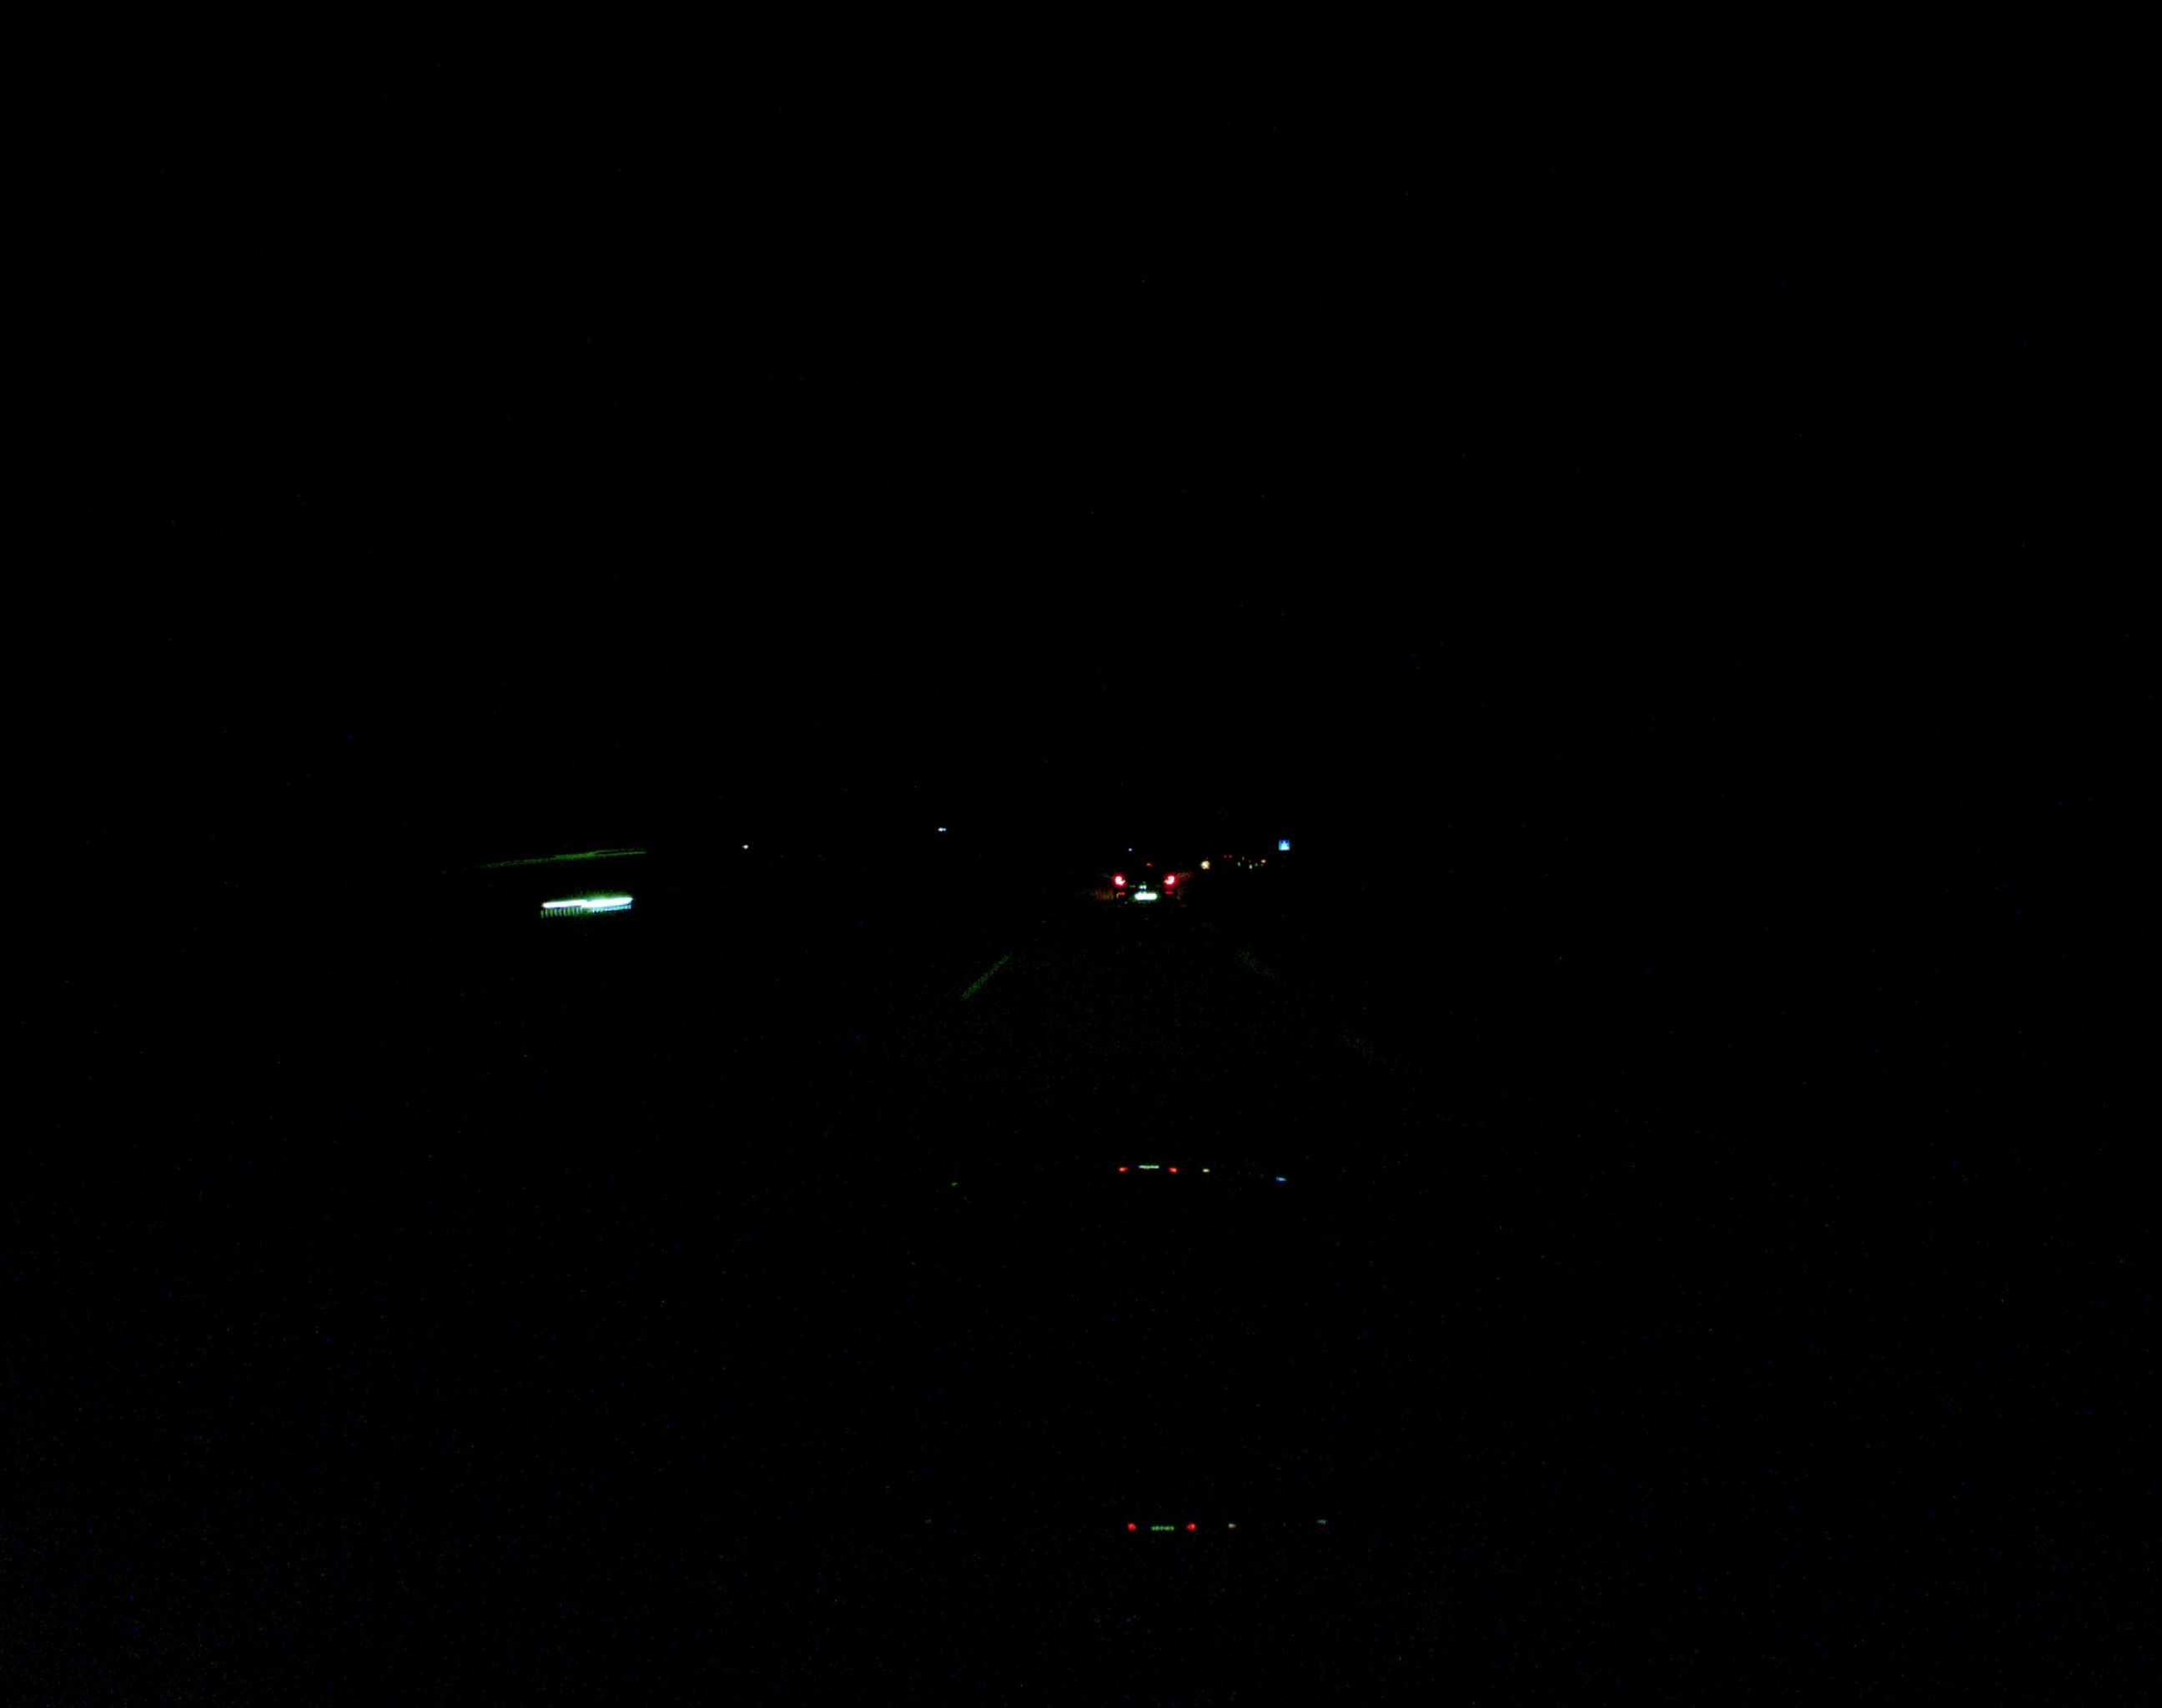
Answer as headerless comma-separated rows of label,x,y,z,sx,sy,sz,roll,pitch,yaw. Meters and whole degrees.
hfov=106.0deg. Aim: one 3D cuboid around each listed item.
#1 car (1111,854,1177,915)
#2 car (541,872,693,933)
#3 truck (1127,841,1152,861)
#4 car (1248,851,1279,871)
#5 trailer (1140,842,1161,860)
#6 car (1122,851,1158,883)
car,1.635,0.752,22.230,1.582,1.508,4.001,0,0,1
car,-14.099,1.413,25.091,1.985,1.557,4.299,-2,0,3
truck,12.850,-0.675,177.070,2.659,4.044,10.704,-2,0,18
car,17.661,0.690,78.749,1.914,1.816,4.290,-2,0,27
trailer,15.944,-0.784,186.451,2.696,3.956,9.089,-2,0,18
car,3.338,0.700,46.172,1.898,1.698,4.004,-2,0,4
